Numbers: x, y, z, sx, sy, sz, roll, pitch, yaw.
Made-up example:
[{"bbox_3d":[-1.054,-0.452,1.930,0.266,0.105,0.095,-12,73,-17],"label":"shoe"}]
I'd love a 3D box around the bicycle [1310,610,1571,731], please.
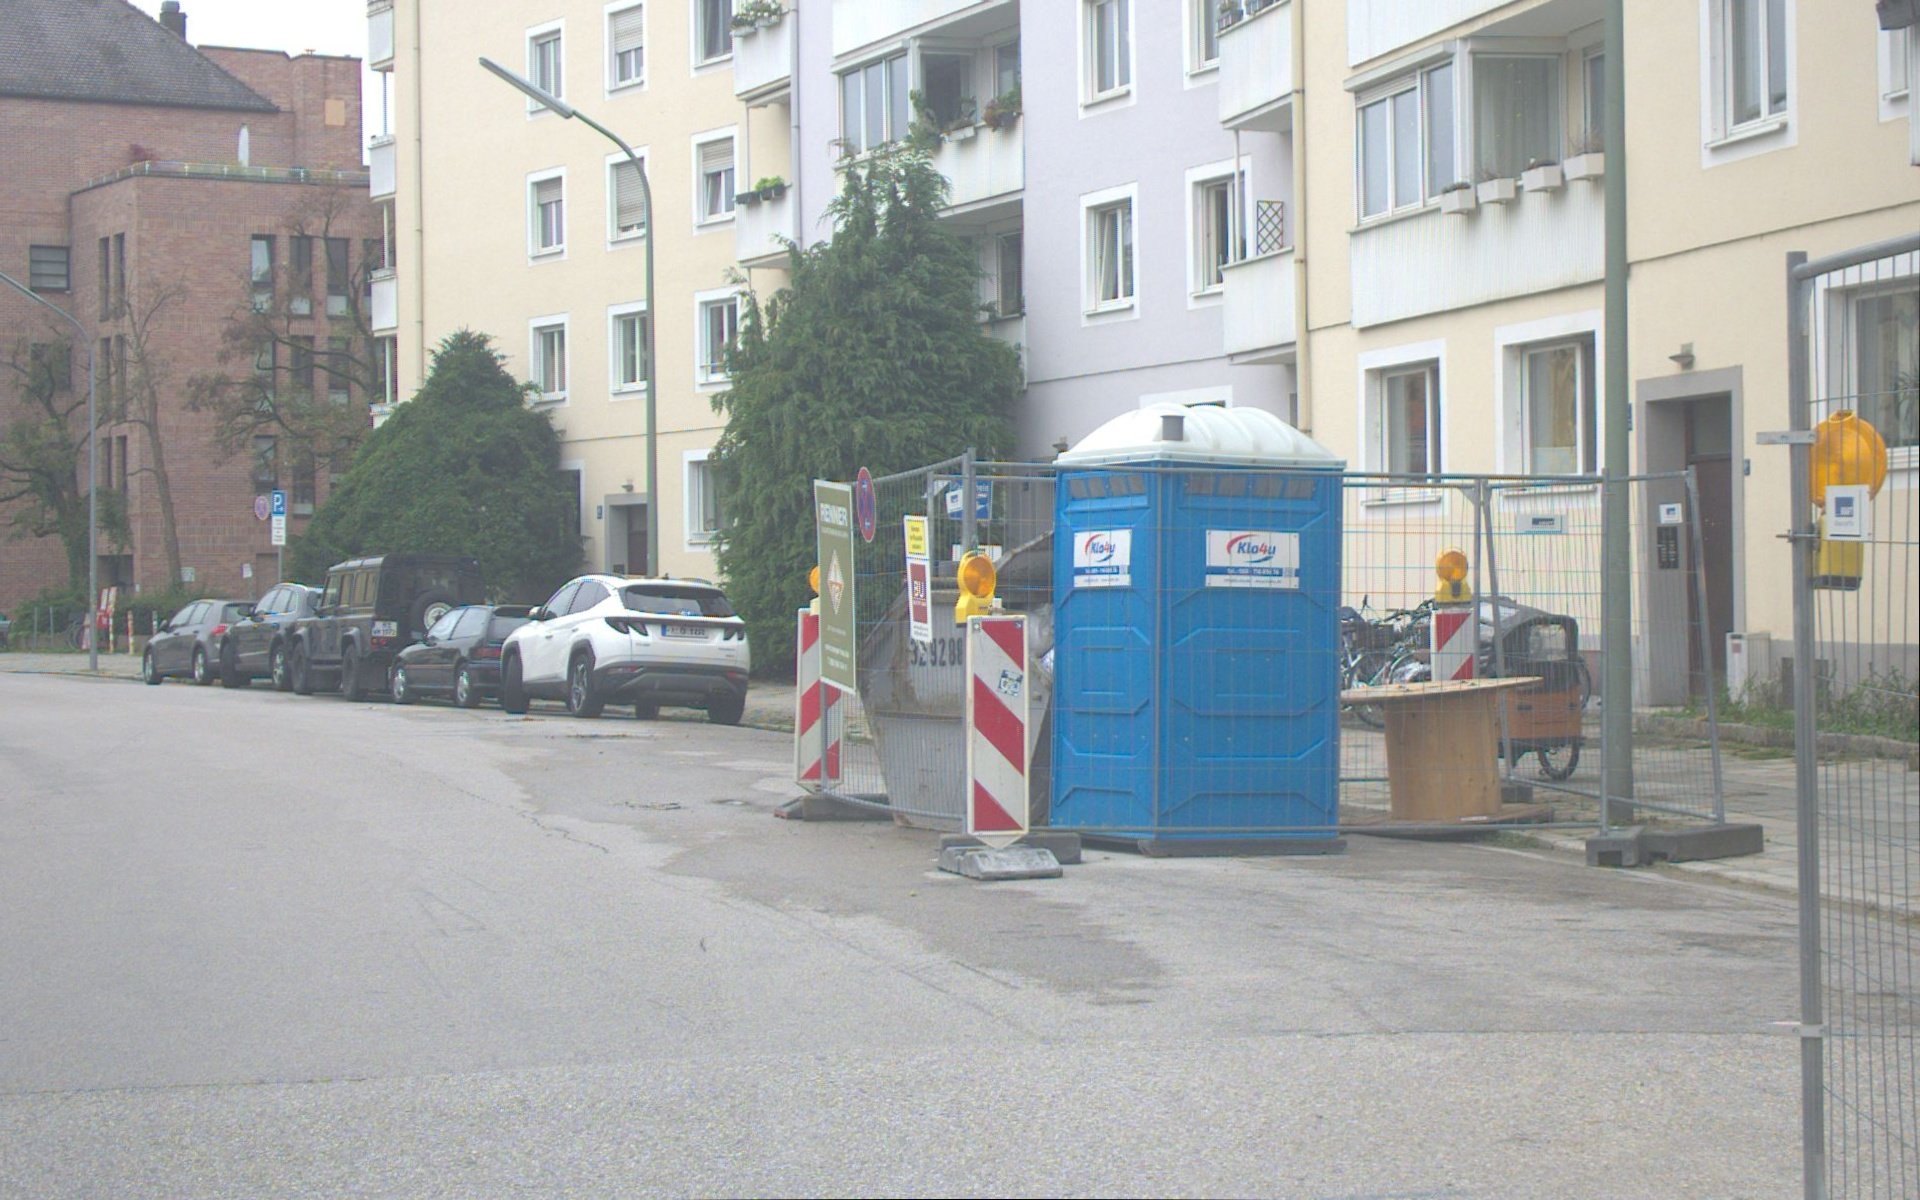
[{"bbox_3d":[4.490,0.651,32.187,2.232,1.066,0.920,-1,1,-15],"label":"bicycle"}]

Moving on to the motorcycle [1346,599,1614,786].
[{"bbox_3d":[3.618,0.615,24.202,0.931,1.217,2.508,-1,1,-15],"label":"motorcycle"}]

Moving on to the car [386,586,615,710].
[{"bbox_3d":[-5.907,0.577,43.868,1.781,1.514,3.720,0,0,-27],"label":"car"}]

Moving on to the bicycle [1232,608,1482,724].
[{"bbox_3d":[3.877,0.632,33.606,2.232,1.066,0.920,-1,1,-15],"label":"bicycle"}]

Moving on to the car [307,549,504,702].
[{"bbox_3d":[-7.767,0.344,47.912,1.781,1.970,3.721,-3,1,-23],"label":"car"}]

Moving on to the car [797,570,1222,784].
[{"bbox_3d":[0.264,0.514,25.738,1.780,1.434,4.283,-1,1,-20],"label":"car"}]

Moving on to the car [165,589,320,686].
[{"bbox_3d":[-11.920,0.598,56.970,1.780,1.505,3.721,-2,0,-23],"label":"car"}]

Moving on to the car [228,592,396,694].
[{"bbox_3d":[-10.007,0.638,52.913,1.780,1.505,3.721,0,0,-23],"label":"car"}]

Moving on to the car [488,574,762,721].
[{"bbox_3d":[-3.879,0.503,39.227,1.830,1.568,4.001,-1,1,-26],"label":"car"}]
